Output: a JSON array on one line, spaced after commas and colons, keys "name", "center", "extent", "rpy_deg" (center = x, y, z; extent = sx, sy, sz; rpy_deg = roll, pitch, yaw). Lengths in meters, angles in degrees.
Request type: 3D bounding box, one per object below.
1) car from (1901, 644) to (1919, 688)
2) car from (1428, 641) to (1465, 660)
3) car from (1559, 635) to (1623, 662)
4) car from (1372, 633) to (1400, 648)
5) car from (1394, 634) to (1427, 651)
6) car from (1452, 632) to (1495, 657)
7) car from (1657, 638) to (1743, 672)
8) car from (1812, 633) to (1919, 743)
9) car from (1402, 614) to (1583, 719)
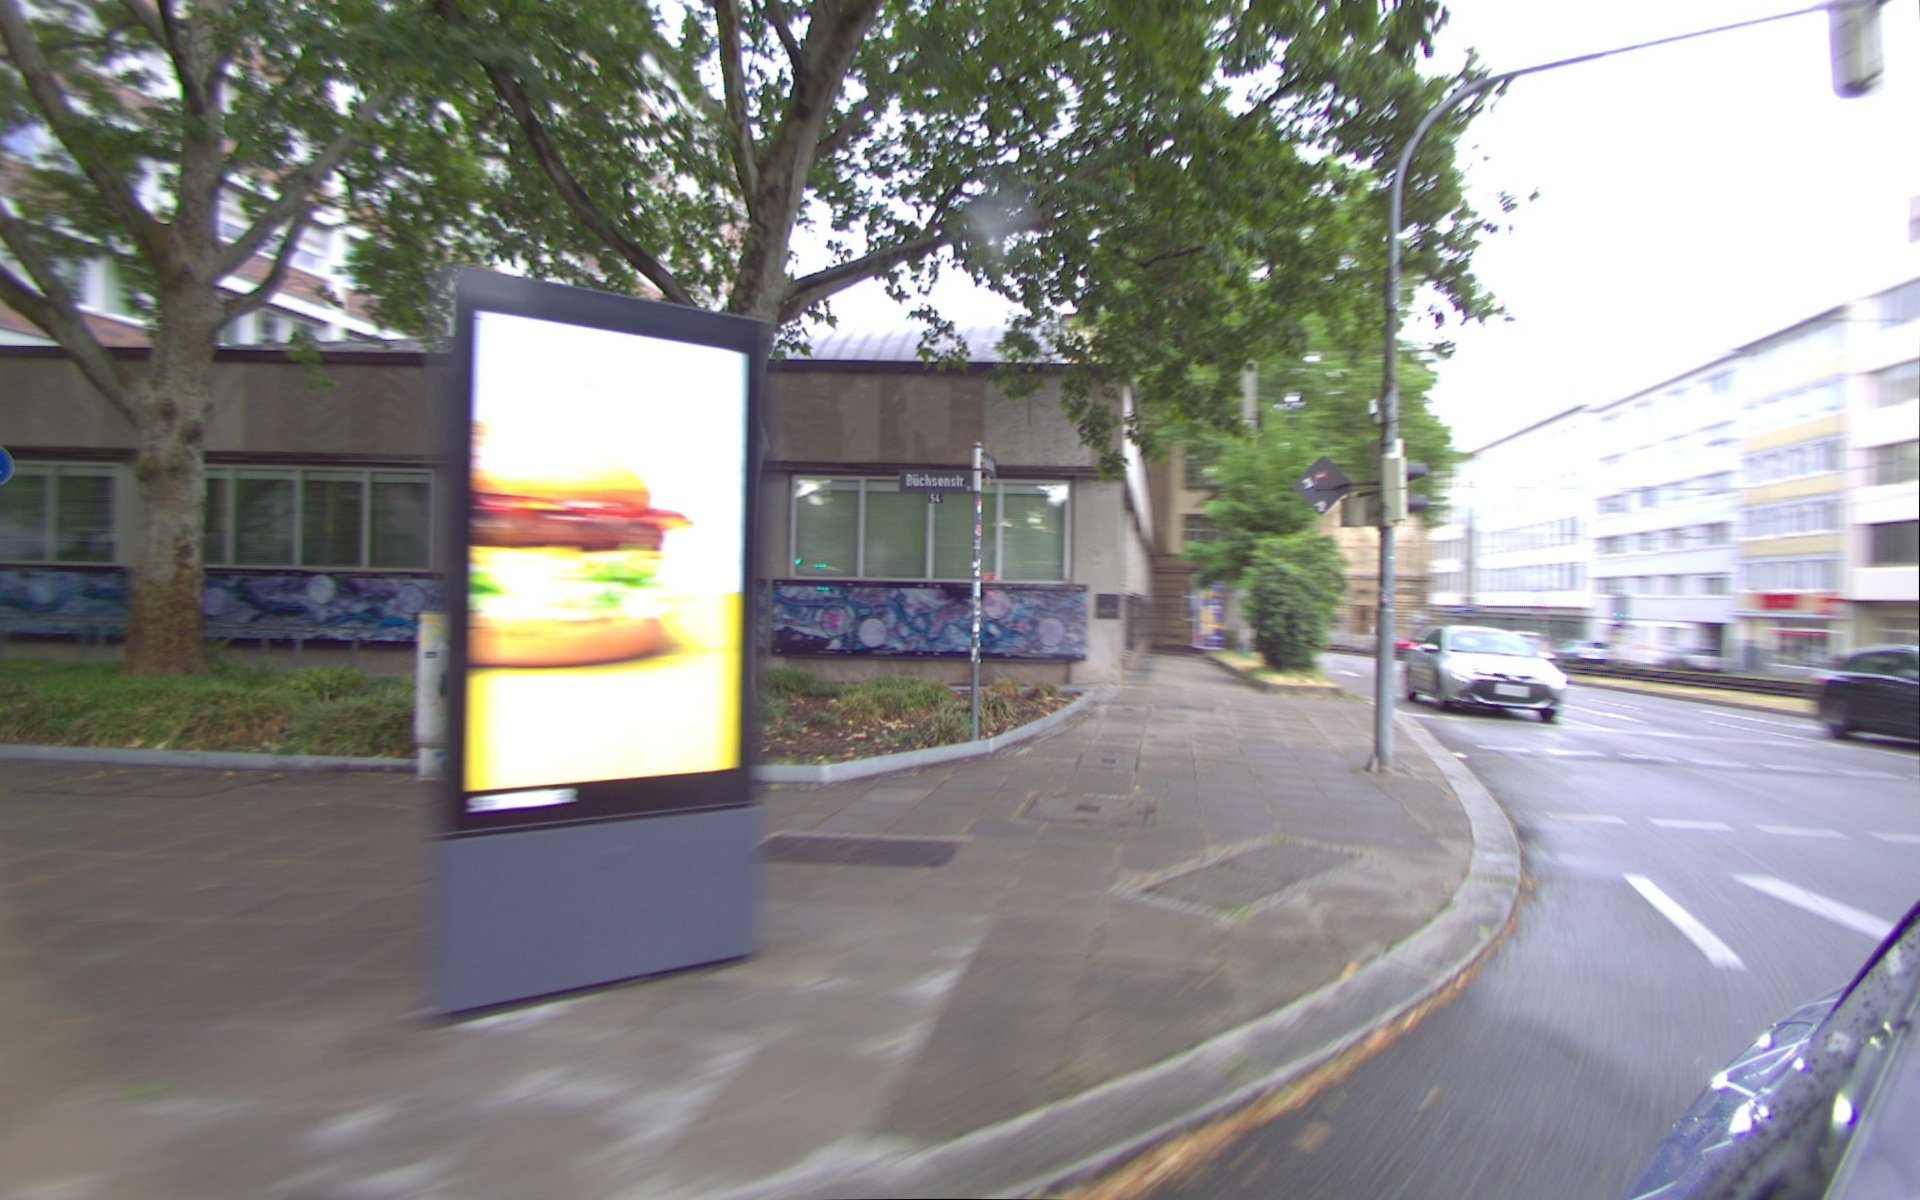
[{"name": "car", "center": [34.722, 2.345, 34.555], "extent": [1.771, 1.533, 4.067], "rpy_deg": [0, -1, 8]}, {"name": "car", "center": [39.222, 4.057, 81.689], "extent": [1.606, 1.374, 3.861], "rpy_deg": [1, -1, 9]}, {"name": "car", "center": [39.199, 2.993, 62.953], "extent": [1.859, 1.533, 4.067], "rpy_deg": [0, -1, 8]}, {"name": "car", "center": [42.671, 4.012, 101.397], "extent": [1.606, 1.374, 3.861], "rpy_deg": [1, -1, 9]}, {"name": "car", "center": [46.255, 4.344, 104.029], "extent": [1.858, 1.645, 4.466], "rpy_deg": [0, -1, 8]}, {"name": "car", "center": [43.127, 3.691, 85.111], "extent": [1.858, 1.960, 4.466], "rpy_deg": [0, -1, 8]}, {"name": "car", "center": [37.550, 2.778, 51.478], "extent": [1.771, 1.533, 4.067], "rpy_deg": [0, -1, 8]}, {"name": "car", "center": [13.897, 1.252, 13.764], "extent": [1.777, 1.461, 4.452], "rpy_deg": [3, -1, 16]}, {"name": "car", "center": [8.916, 1.040, 17.326], "extent": [1.787, 1.453, 4.275], "rpy_deg": [3, -1, 15]}]
